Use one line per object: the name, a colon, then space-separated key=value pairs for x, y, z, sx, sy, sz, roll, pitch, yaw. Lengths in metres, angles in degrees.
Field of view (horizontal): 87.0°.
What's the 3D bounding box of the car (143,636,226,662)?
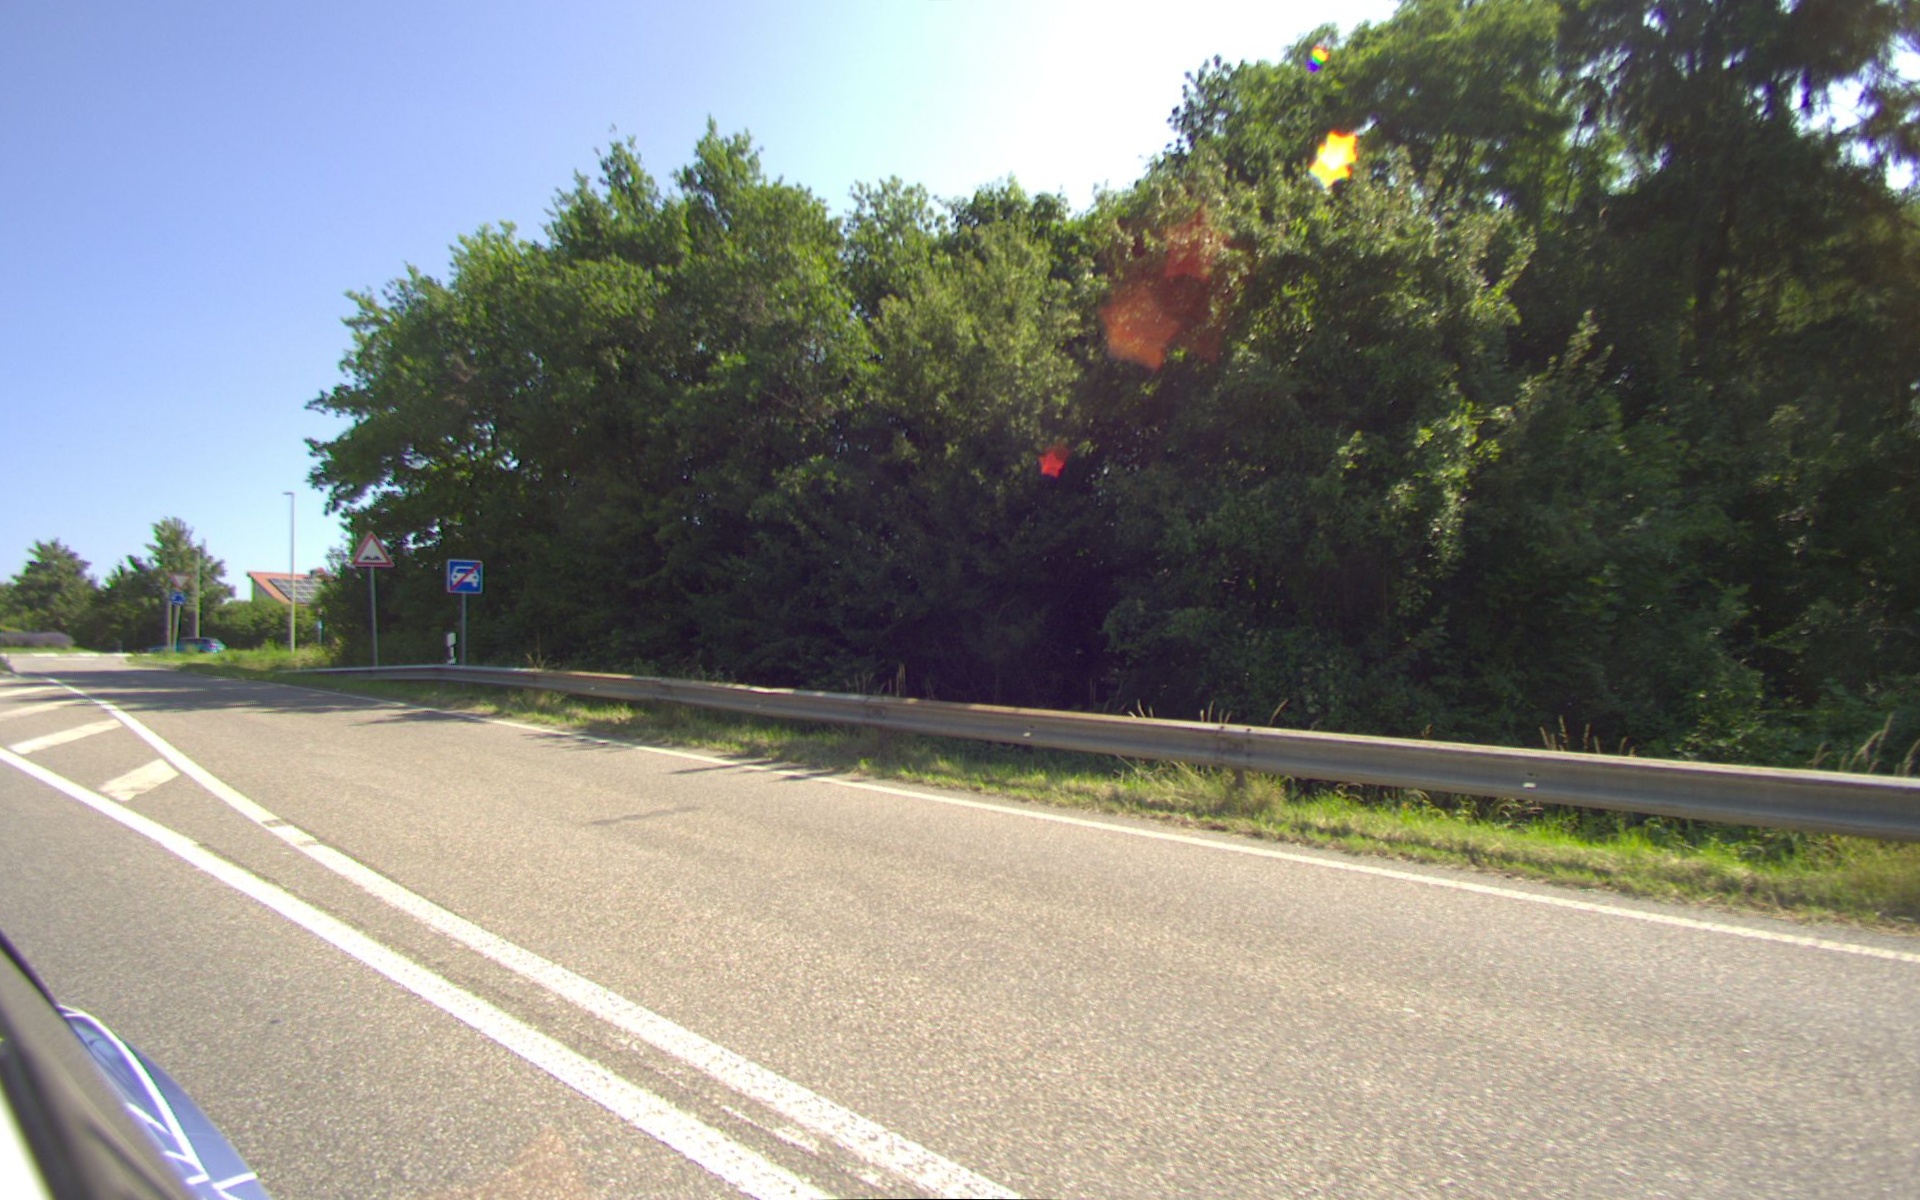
car: x=-50.398 y=3.186 z=65.840 sx=3.935 sy=1.588 sz=1.652 roll=0 pitch=-3 yaw=-10
